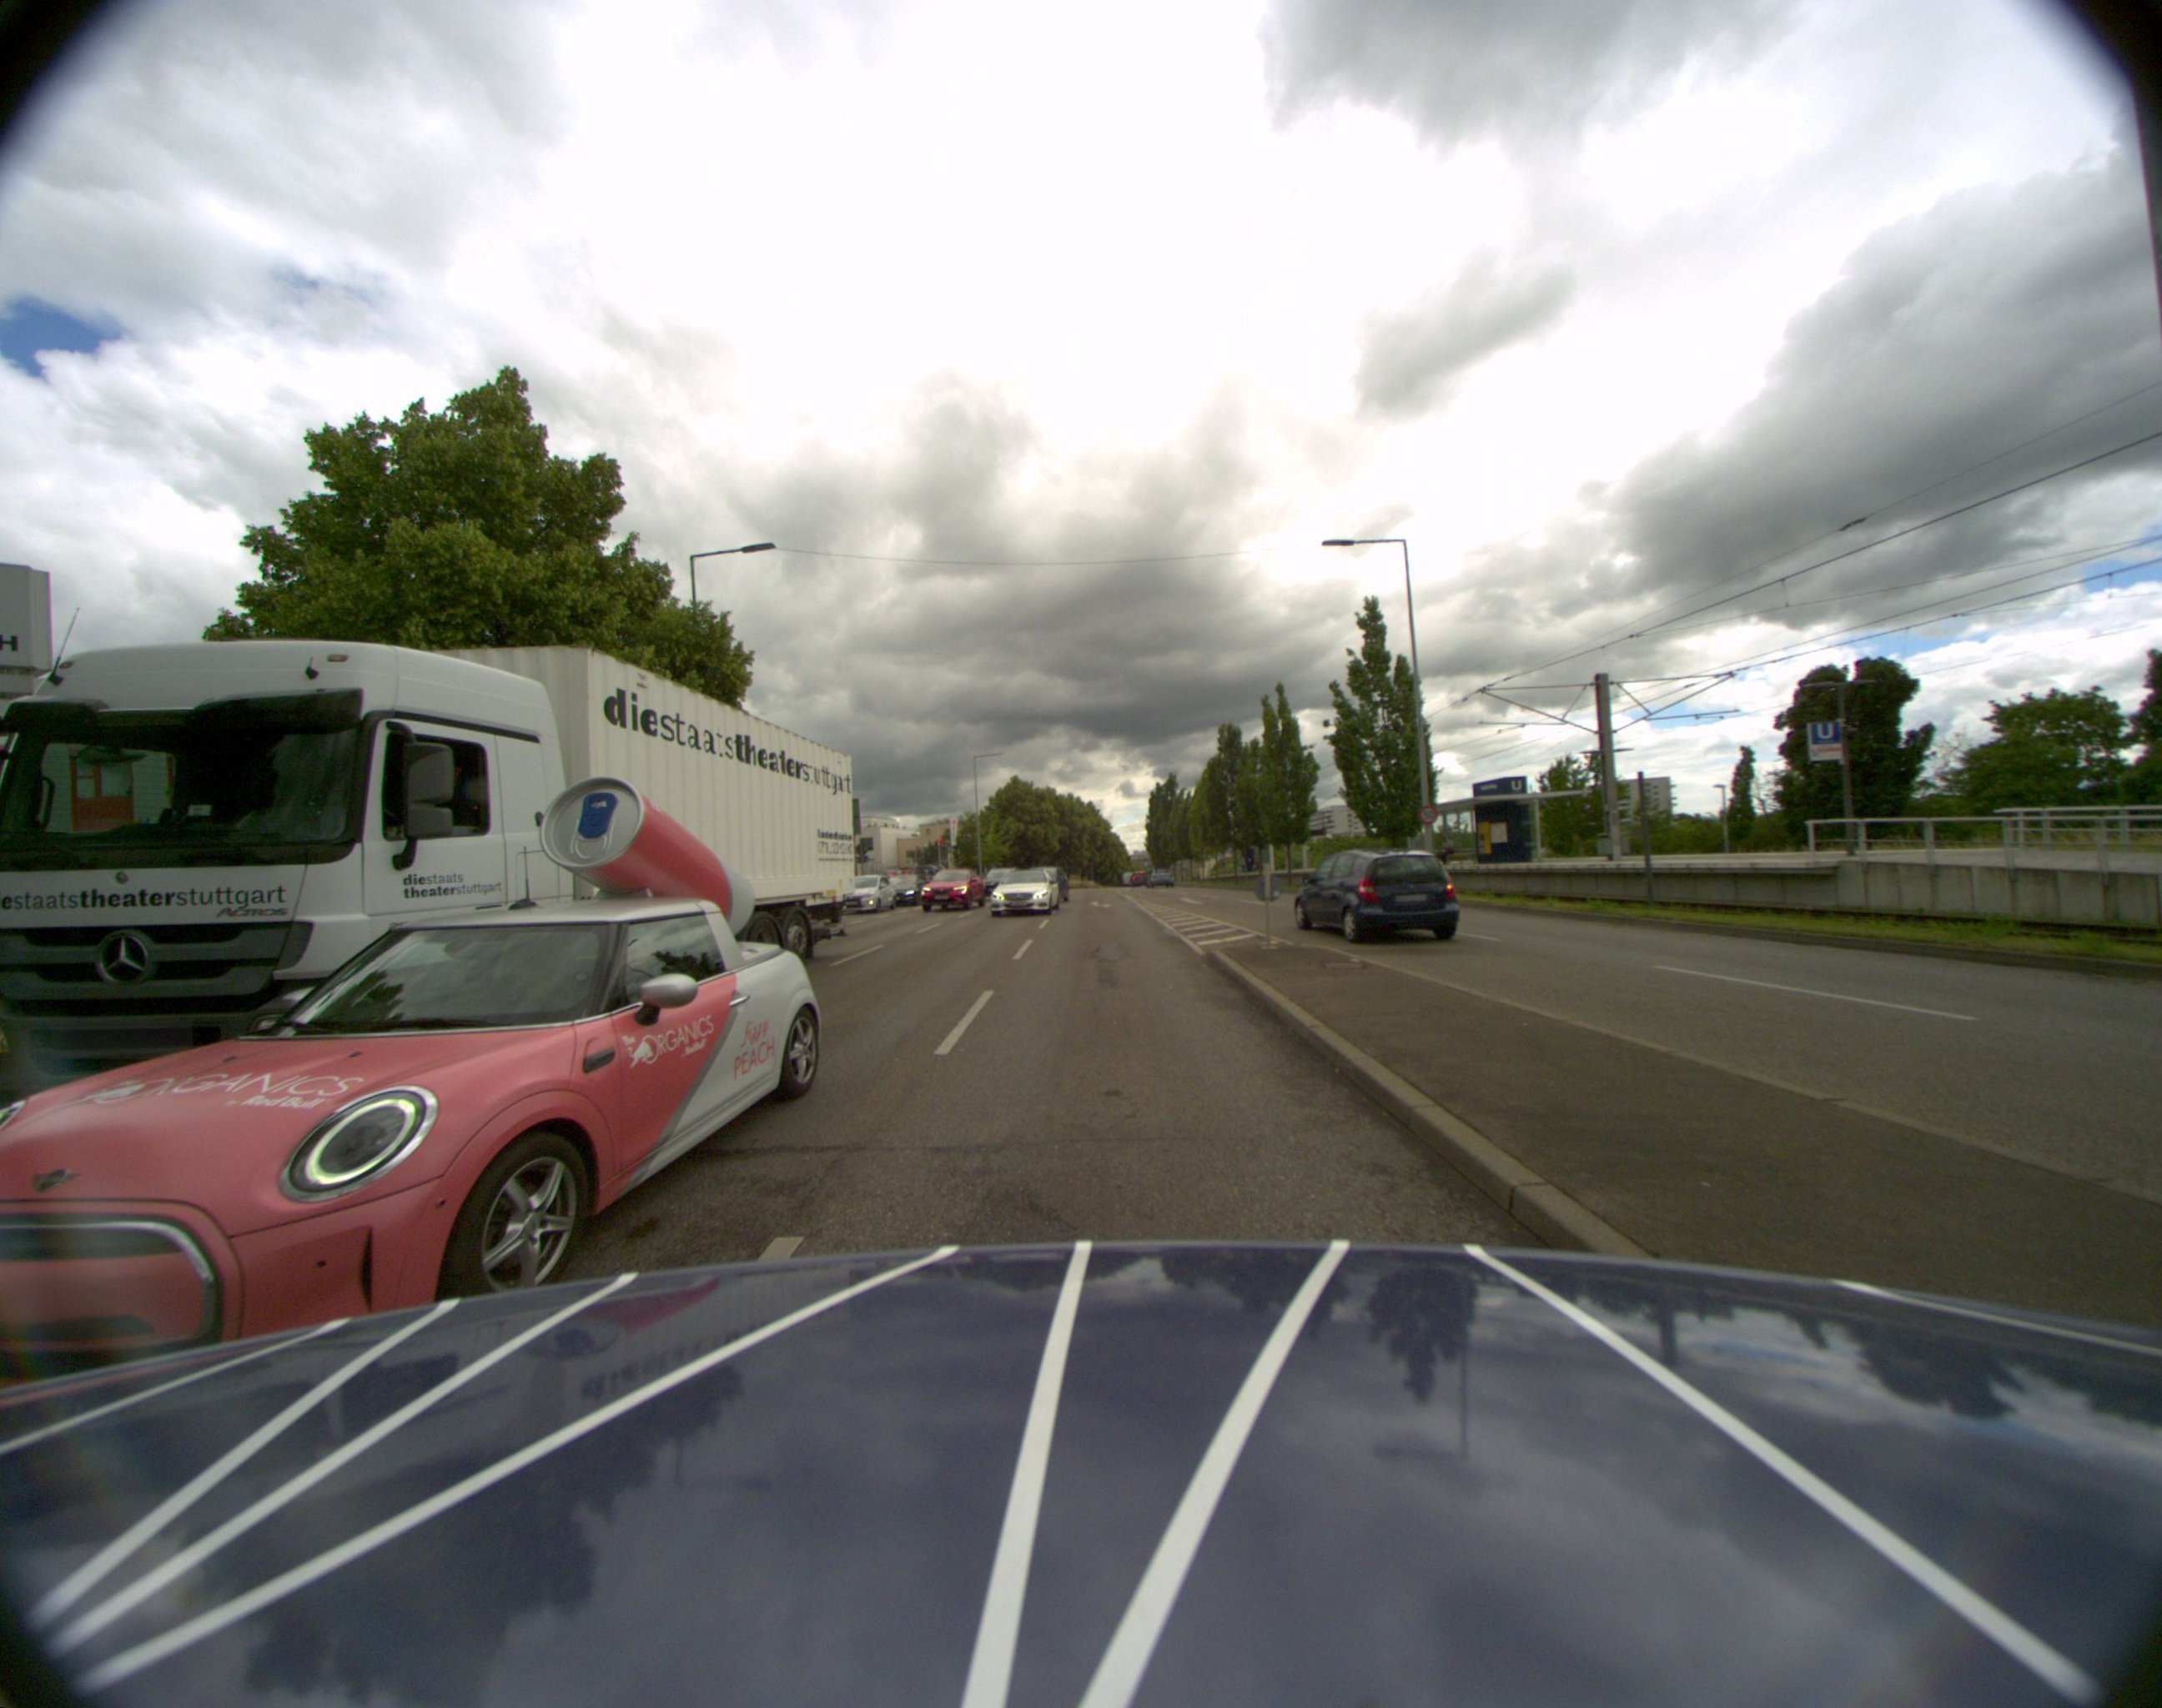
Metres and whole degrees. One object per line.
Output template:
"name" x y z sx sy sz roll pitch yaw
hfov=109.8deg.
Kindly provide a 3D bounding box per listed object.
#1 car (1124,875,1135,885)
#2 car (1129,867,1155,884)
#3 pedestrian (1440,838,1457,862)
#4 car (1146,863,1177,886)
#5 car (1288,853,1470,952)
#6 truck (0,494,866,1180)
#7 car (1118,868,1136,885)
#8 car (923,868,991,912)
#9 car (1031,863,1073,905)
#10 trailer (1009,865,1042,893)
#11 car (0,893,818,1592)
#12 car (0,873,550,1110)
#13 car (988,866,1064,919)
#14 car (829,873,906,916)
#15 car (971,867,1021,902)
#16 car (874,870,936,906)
"car" 8.022 4.302 125.908 1.699 1.440 3.661 -2 0 3
"car" 5.841 2.084 73.290 1.876 1.416 4.430 -2 1 -4
"pedestrian" 17.770 -0.185 36.733 0.601 1.148 0.447 -2 1 1
"car" 5.985 1.512 56.800 1.761 1.519 3.599 -2 1 -3
"car" 5.255 0.777 13.934 1.740 1.499 3.659 -2 0 -2
"truck" -5.739 -0.053 9.474 2.809 3.880 10.183 -2 0 2
"car" 5.872 2.845 97.711 1.920 1.953 5.372 -2 1 0
"car" -4.796 1.367 29.936 1.851 1.521 4.377 -2 -1 0
"car" -1.265 1.295 34.216 1.669 1.589 3.996 -2 1 0
"trailer" -3.758 1.689 51.749 1.775 1.650 3.996 -2 1 1
"car" -2.848 1.051 3.587 1.825 1.497 3.495 -2 0 2
"car" -8.784 1.248 8.761 1.763 1.764 4.675 -6 0 2
"car" -1.707 1.183 25.017 1.803 1.403 4.318 -2 1 5
"car" -8.455 1.567 30.436 1.763 1.431 4.370 -3 0 0
"car" -4.306 1.525 39.162 1.797 1.521 4.219 -2 1 3
"car" -8.075 1.527 35.177 1.763 1.431 4.370 -3 0 0
